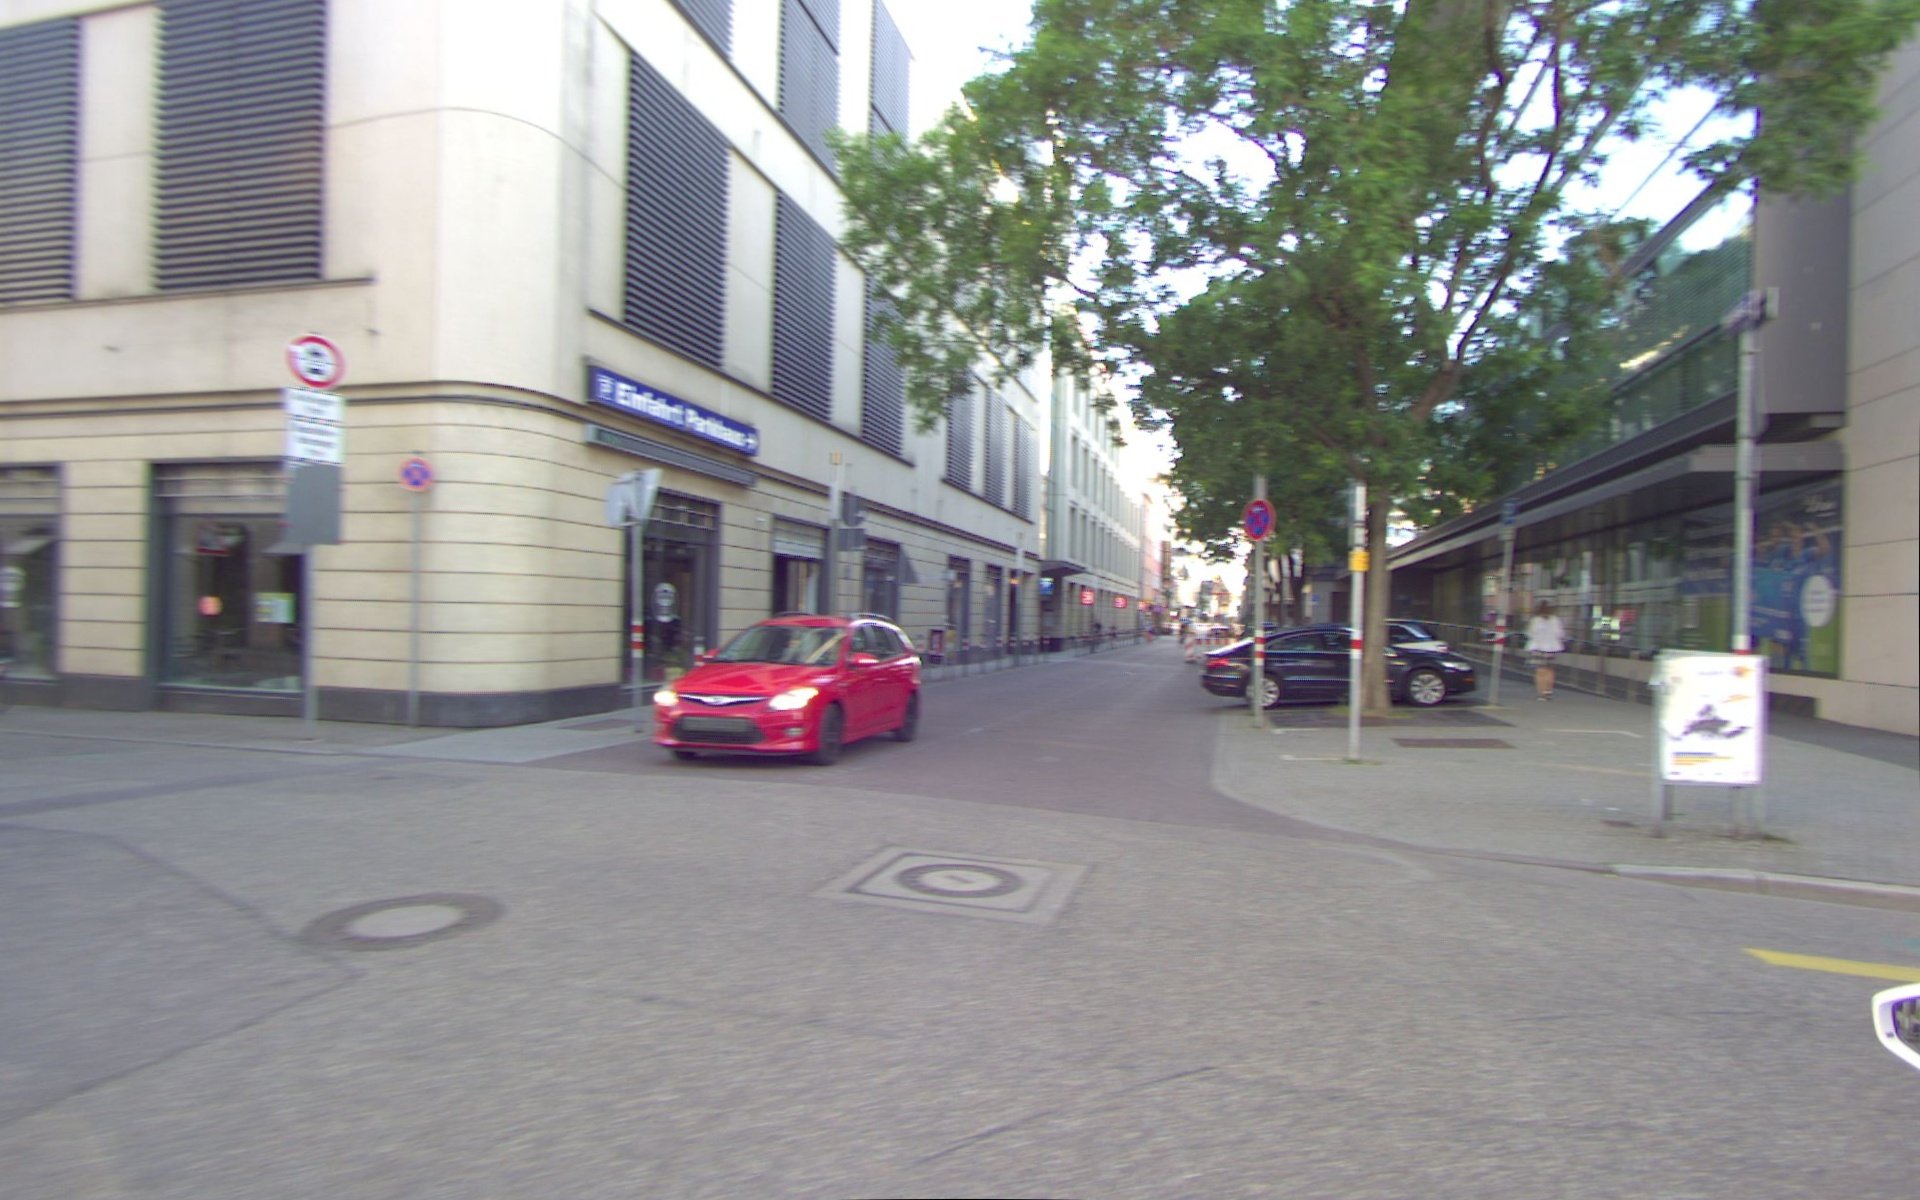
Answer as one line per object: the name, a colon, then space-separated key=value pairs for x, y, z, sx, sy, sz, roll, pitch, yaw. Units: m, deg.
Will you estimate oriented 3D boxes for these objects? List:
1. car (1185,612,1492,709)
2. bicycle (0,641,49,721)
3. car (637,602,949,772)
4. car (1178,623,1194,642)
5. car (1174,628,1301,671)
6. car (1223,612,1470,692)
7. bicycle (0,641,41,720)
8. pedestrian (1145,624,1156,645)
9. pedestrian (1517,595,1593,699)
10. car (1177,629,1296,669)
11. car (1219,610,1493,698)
car: x=6.680 y=1.108 z=18.317 sx=4.920 sy=1.470 sz=2.001 roll=-3 pitch=-3 yaw=13
bicycle: x=-12.904 y=1.065 z=13.066 sx=0.347 sy=1.047 sz=1.514 roll=0 pitch=-1 yaw=36
car: x=-1.579 y=0.894 z=11.235 sx=1.791 sy=1.484 sz=4.267 roll=1 pitch=-3 yaw=15
car: x=29.063 y=4.168 z=129.051 sx=1.959 sy=2.360 sz=5.024 roll=2 pitch=-1 yaw=13
car: x=11.586 y=2.085 z=42.208 sx=4.920 sy=1.519 sz=2.001 roll=-3 pitch=-3 yaw=13
car: x=8.556 y=1.185 z=22.755 sx=4.920 sy=1.519 sz=2.001 roll=-3 pitch=-3 yaw=13
bicycle: x=-13.213 y=1.077 z=13.288 sx=0.347 sy=1.047 sz=1.514 roll=0 pitch=-1 yaw=36
pedestrian: x=14.584 y=2.620 z=76.796 sx=0.719 sy=1.594 sz=0.636 roll=1 pitch=-1 yaw=16
pedestrian: x=10.283 y=0.822 z=17.400 sx=0.890 sy=1.728 sz=0.835 roll=-2 pitch=-3 yaw=17
car: x=12.181 y=2.156 z=44.570 sx=4.920 sy=1.519 sz=2.001 roll=-3 pitch=-3 yaw=13
car: x=7.905 y=1.114 z=20.611 sx=4.920 sy=1.519 sz=2.001 roll=-3 pitch=-3 yaw=13
